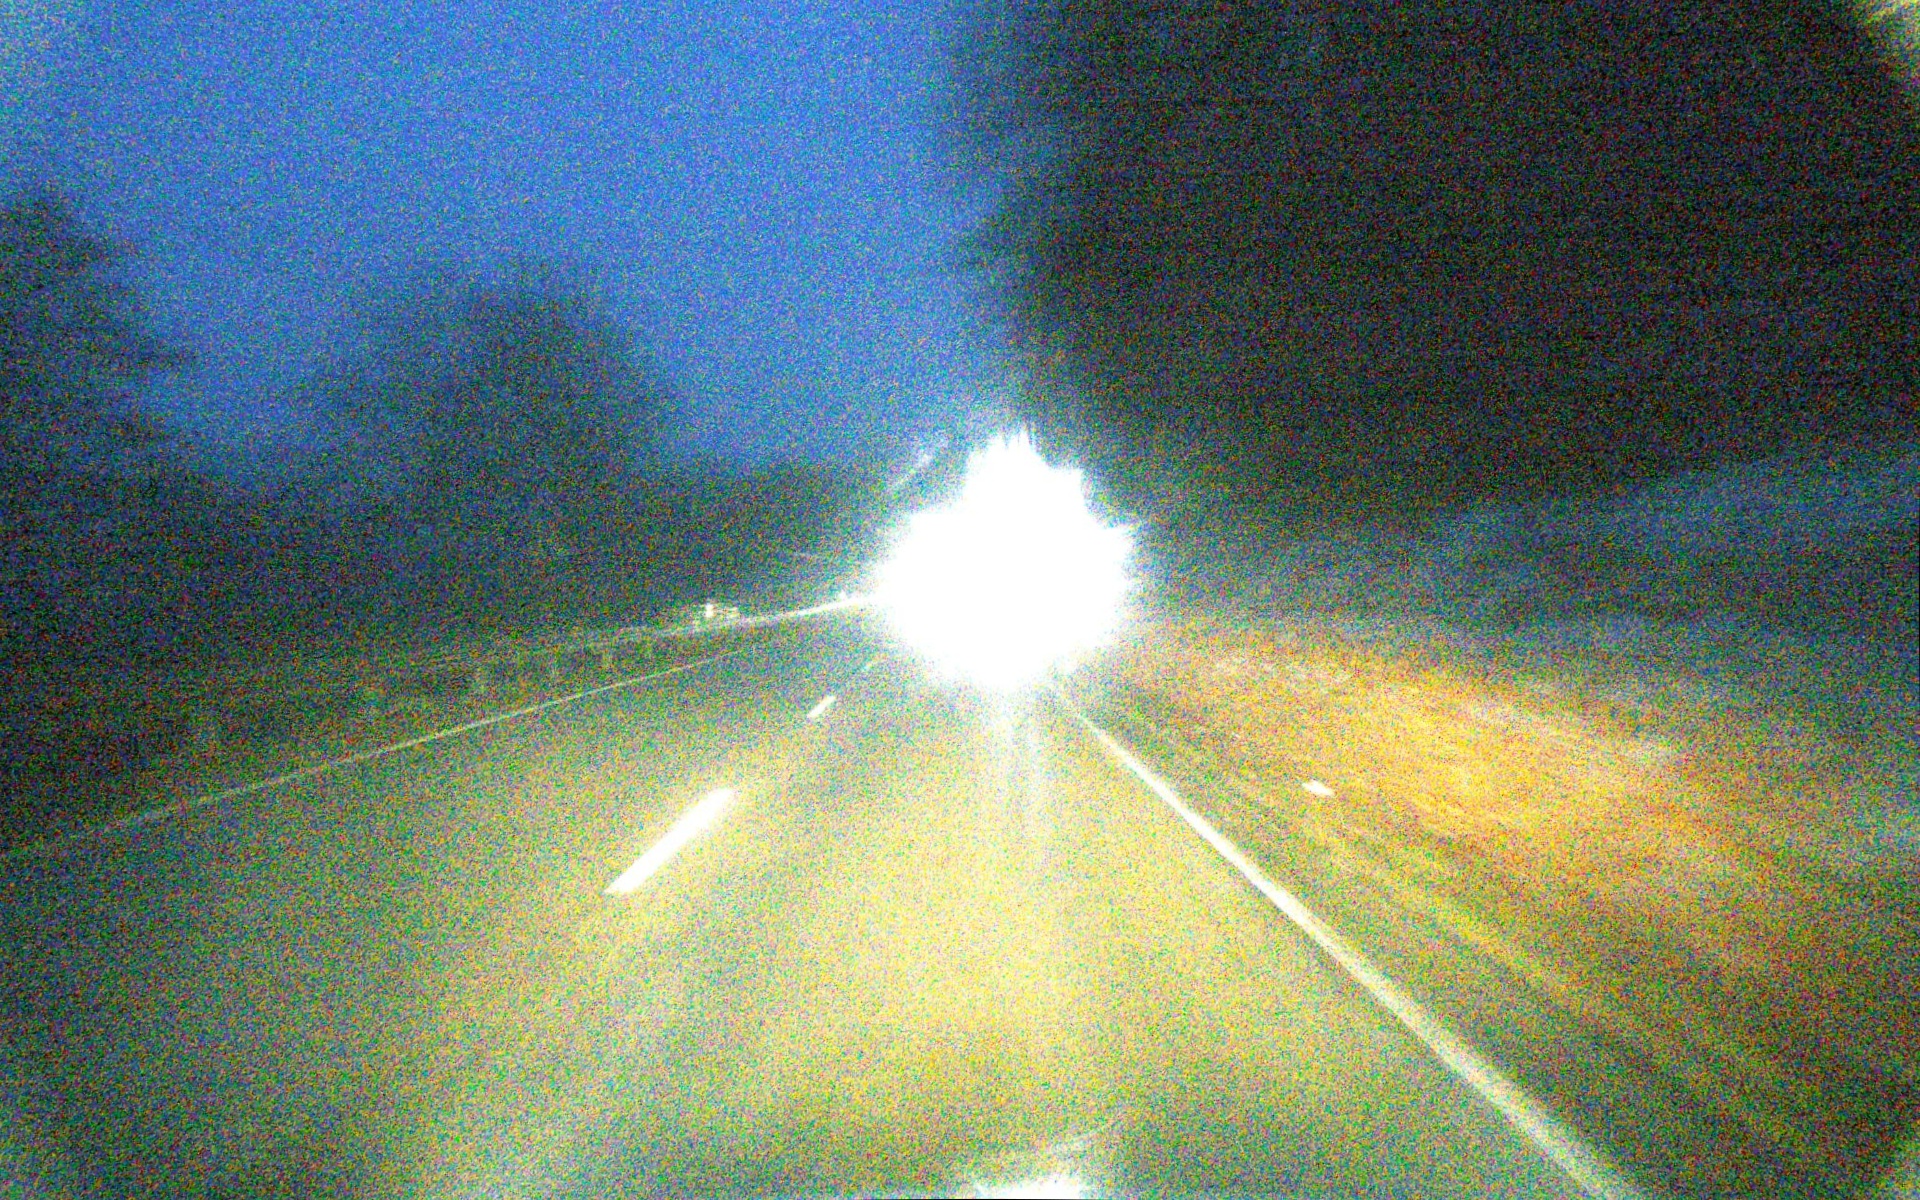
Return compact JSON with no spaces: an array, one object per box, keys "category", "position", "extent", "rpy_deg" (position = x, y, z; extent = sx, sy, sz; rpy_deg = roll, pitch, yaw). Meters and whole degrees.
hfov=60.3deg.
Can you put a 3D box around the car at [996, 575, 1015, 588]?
[{"category":"car","position":[5.089,-2.078,184.030],"extent":[1.952,1.415,3.848],"rpy_deg":[0,1,3]}]
